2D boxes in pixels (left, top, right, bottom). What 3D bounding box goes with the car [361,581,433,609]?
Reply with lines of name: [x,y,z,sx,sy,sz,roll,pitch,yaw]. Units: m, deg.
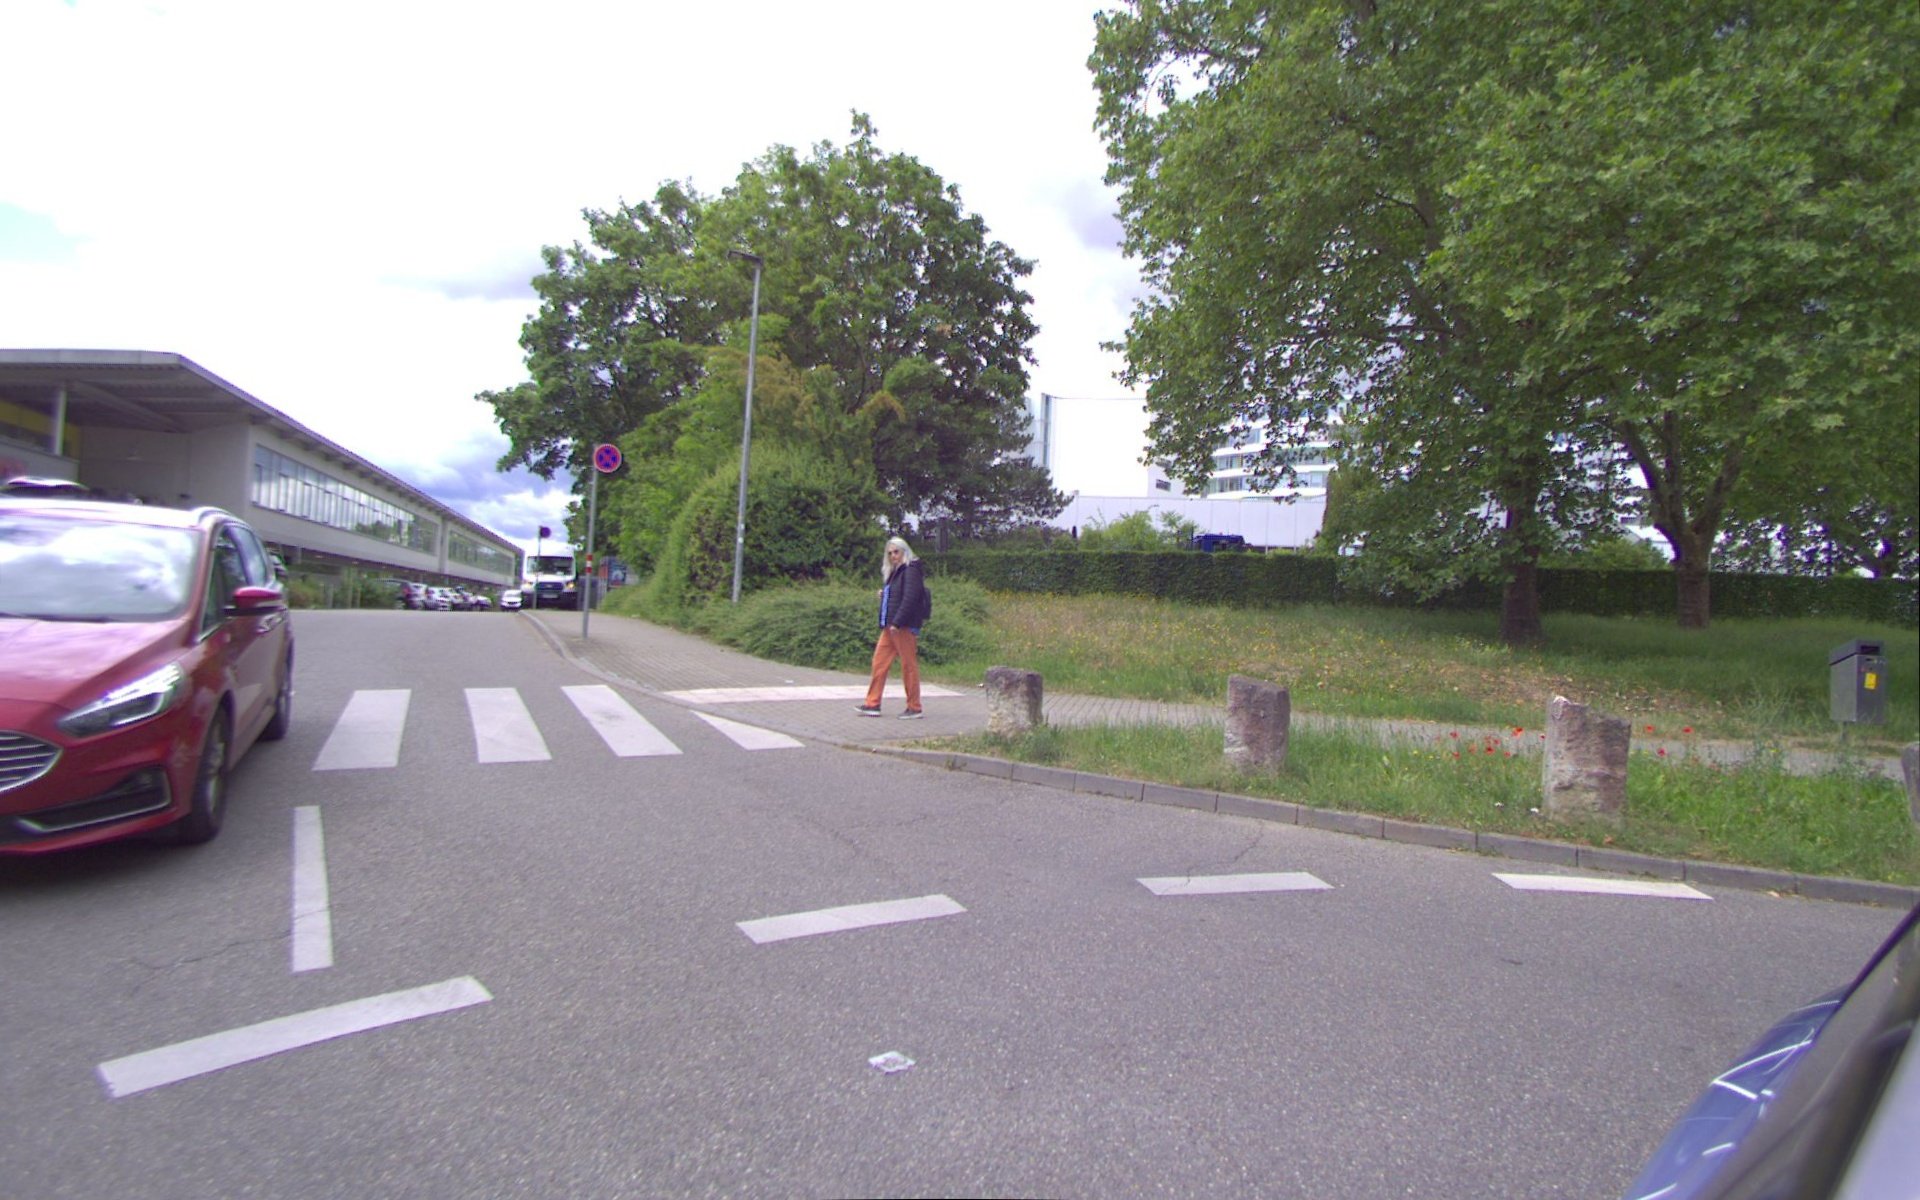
car: [-30.821,-0.257,55.437,3.229,1.407,1.514,1,2,-20]

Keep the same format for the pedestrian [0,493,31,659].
pedestrian: [-10.942,-0.269,11.387,0.474,1.835,0.584,1,-1,-18]

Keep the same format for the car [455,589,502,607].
car: [-43.421,-0.196,91.356,3.697,1.461,1.646,1,2,-20]

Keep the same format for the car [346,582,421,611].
car: [-30.287,-0.166,53.260,3.229,1.407,1.514,1,2,-20]

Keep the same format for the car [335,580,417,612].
car: [-28.098,-0.197,48.773,3.229,1.407,1.514,1,2,-20]

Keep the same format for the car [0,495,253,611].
car: [-17.293,-0.907,21.026,3.893,2.188,1.834,1,0,-20]

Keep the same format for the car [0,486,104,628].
car: [-13.007,-0.566,12.255,3.697,1.679,1.577,1,2,-20]

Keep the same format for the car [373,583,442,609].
car: [-31.628,-0.234,58.013,3.229,1.407,1.514,1,2,-20]

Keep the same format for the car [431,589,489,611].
car: [-36.904,-0.014,74.763,3.697,1.500,1.646,1,2,-20]

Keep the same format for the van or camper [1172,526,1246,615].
van or camper: [8.413,-0.955,34.595,2.081,2.834,4.467,1,0,10]

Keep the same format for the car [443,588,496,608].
car: [-39.764,-0.166,82.178,3.697,1.461,1.646,1,2,-20]

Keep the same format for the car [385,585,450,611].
car: [-32.283,-0.110,60.275,3.229,1.407,1.514,1,2,-20]

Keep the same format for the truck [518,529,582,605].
truck: [-15.752,-1.185,38.668,2.024,2.640,5.818,1,0,-24]

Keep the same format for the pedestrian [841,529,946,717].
pedestrian: [-0.634,0.202,9.451,0.823,1.685,0.616,1,2,-16]

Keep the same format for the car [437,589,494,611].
car: [-37.641,-0.019,77.069,3.697,1.500,1.646,1,2,-20]

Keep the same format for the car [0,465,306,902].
car: [-5.045,0.187,5.656,1.940,1.665,4.544,2,2,-29]

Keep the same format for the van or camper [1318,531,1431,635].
van or camper: [12.252,-0.470,30.221,2.080,2.834,4.468,1,0,9]

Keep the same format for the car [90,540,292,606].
car: [-19.170,-0.672,25.402,3.697,1.500,1.646,1,2,-20]

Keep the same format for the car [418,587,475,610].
car: [-34.366,-0.121,67.772,3.229,1.407,1.514,1,2,-20]

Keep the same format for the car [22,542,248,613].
car: [-18.888,-0.525,23.369,3.697,1.500,1.646,1,2,-20]

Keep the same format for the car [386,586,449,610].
car: [-33.582,-0.125,62.683,3.229,1.407,1.514,1,2,-20]

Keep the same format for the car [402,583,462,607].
car: [-33.790,-0.311,64.880,3.229,1.407,1.514,1,2,-20]
